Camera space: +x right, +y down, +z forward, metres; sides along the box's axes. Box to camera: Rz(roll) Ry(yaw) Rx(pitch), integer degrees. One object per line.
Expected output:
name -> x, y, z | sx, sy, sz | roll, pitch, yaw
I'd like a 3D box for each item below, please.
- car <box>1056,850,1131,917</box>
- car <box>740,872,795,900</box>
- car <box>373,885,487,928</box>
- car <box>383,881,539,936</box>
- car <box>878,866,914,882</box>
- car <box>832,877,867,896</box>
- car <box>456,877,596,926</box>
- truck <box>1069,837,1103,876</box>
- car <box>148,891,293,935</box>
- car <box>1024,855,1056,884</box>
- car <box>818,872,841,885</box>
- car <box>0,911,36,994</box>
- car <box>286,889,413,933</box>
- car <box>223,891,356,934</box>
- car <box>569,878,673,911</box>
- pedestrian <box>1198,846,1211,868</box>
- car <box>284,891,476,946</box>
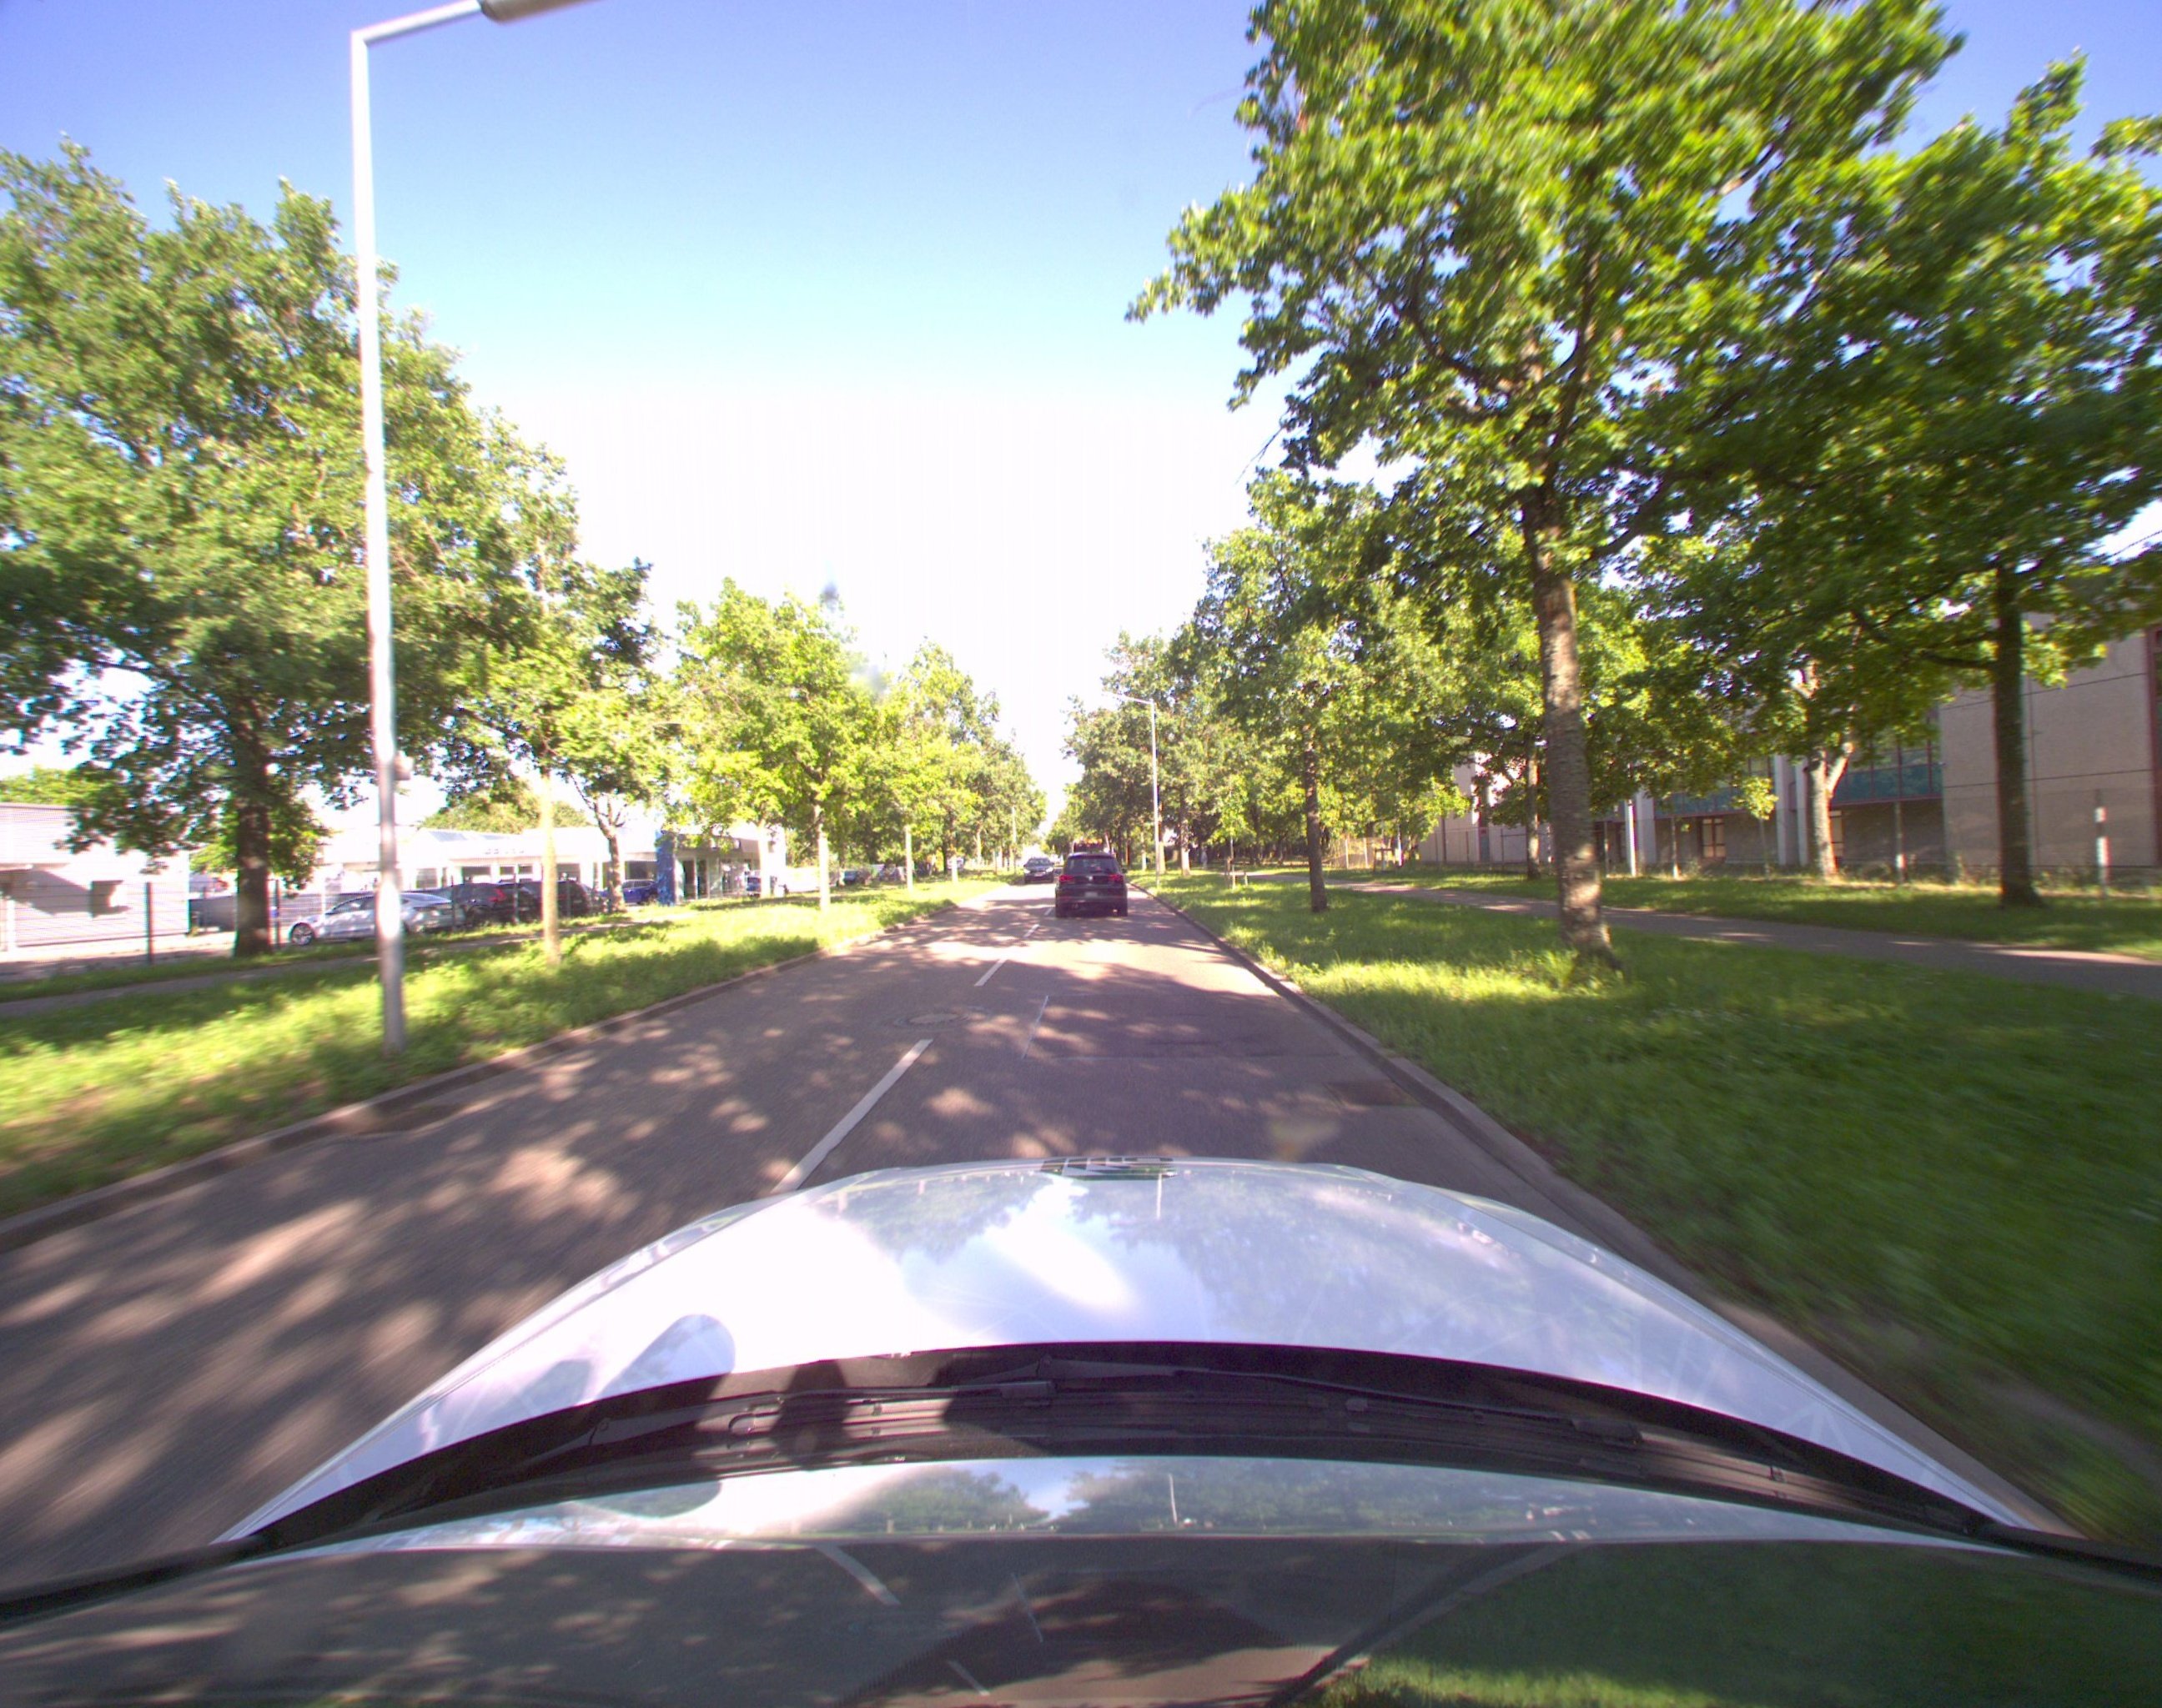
car -> 0.239, 0.739, 21.913 | 1.778, 1.633, 3.996 | -1, -1, -3
car -> -18.141, 1.832, 47.152 | 2.547, 1.470, 1.432 | -2, 0, 16
car -> -29.892, 2.356, 37.613 | 1.995, 1.689, 5.236 | 0, -1, -13
car -> -21.323, 1.846, 28.114 | 3.972, 1.746, 1.862 | -1, -1, 2
car -> -21.690, 2.376, 95.771 | 3.985, 1.802, 1.994 | 0, -1, -9
car -> -21.843, 3.068, 77.117 | 1.988, 1.598, 5.011 | -1, -1, -2
car -> -21.044, 1.779, 31.015 | 3.971, 1.742, 2.001 | -1, -1, 2
truck -> 0.360, 0.248, 73.081 | 2.506, 3.244, 8.143 | -2, 0, -3
car -> -39.798, 2.676, 37.896 | 1.995, 1.661, 5.236 | 0, -1, -13
car -> -2.582, 0.968, 52.036 | 1.762, 1.672, 4.198 | -3, -1, -1
car -> -32.759, 3.179, 106.087 | 1.992, 1.567, 4.872 | 0, -1, -7
car -> -22.084, 1.857, 14.566 | 3.972, 1.518, 2.199 | -1, -1, 2
car -> -33.218, 2.536, 37.237 | 1.995, 1.661, 5.236 | 0, -1, -13
car -> -36.674, 2.645, 37.979 | 1.995, 1.661, 5.236 | 0, -1, -13
car -> -28.920, 2.483, 51.332 | 1.974, 1.660, 5.294 | -1, 1, 38
pedestrian -> 9.748, 0.249, 64.132 | 0.710, 1.631, 0.614 | -4, 0, 29
car -> -21.504, 1.952, 25.102 | 4.294, 1.518, 1.862 | -1, -1, 2
